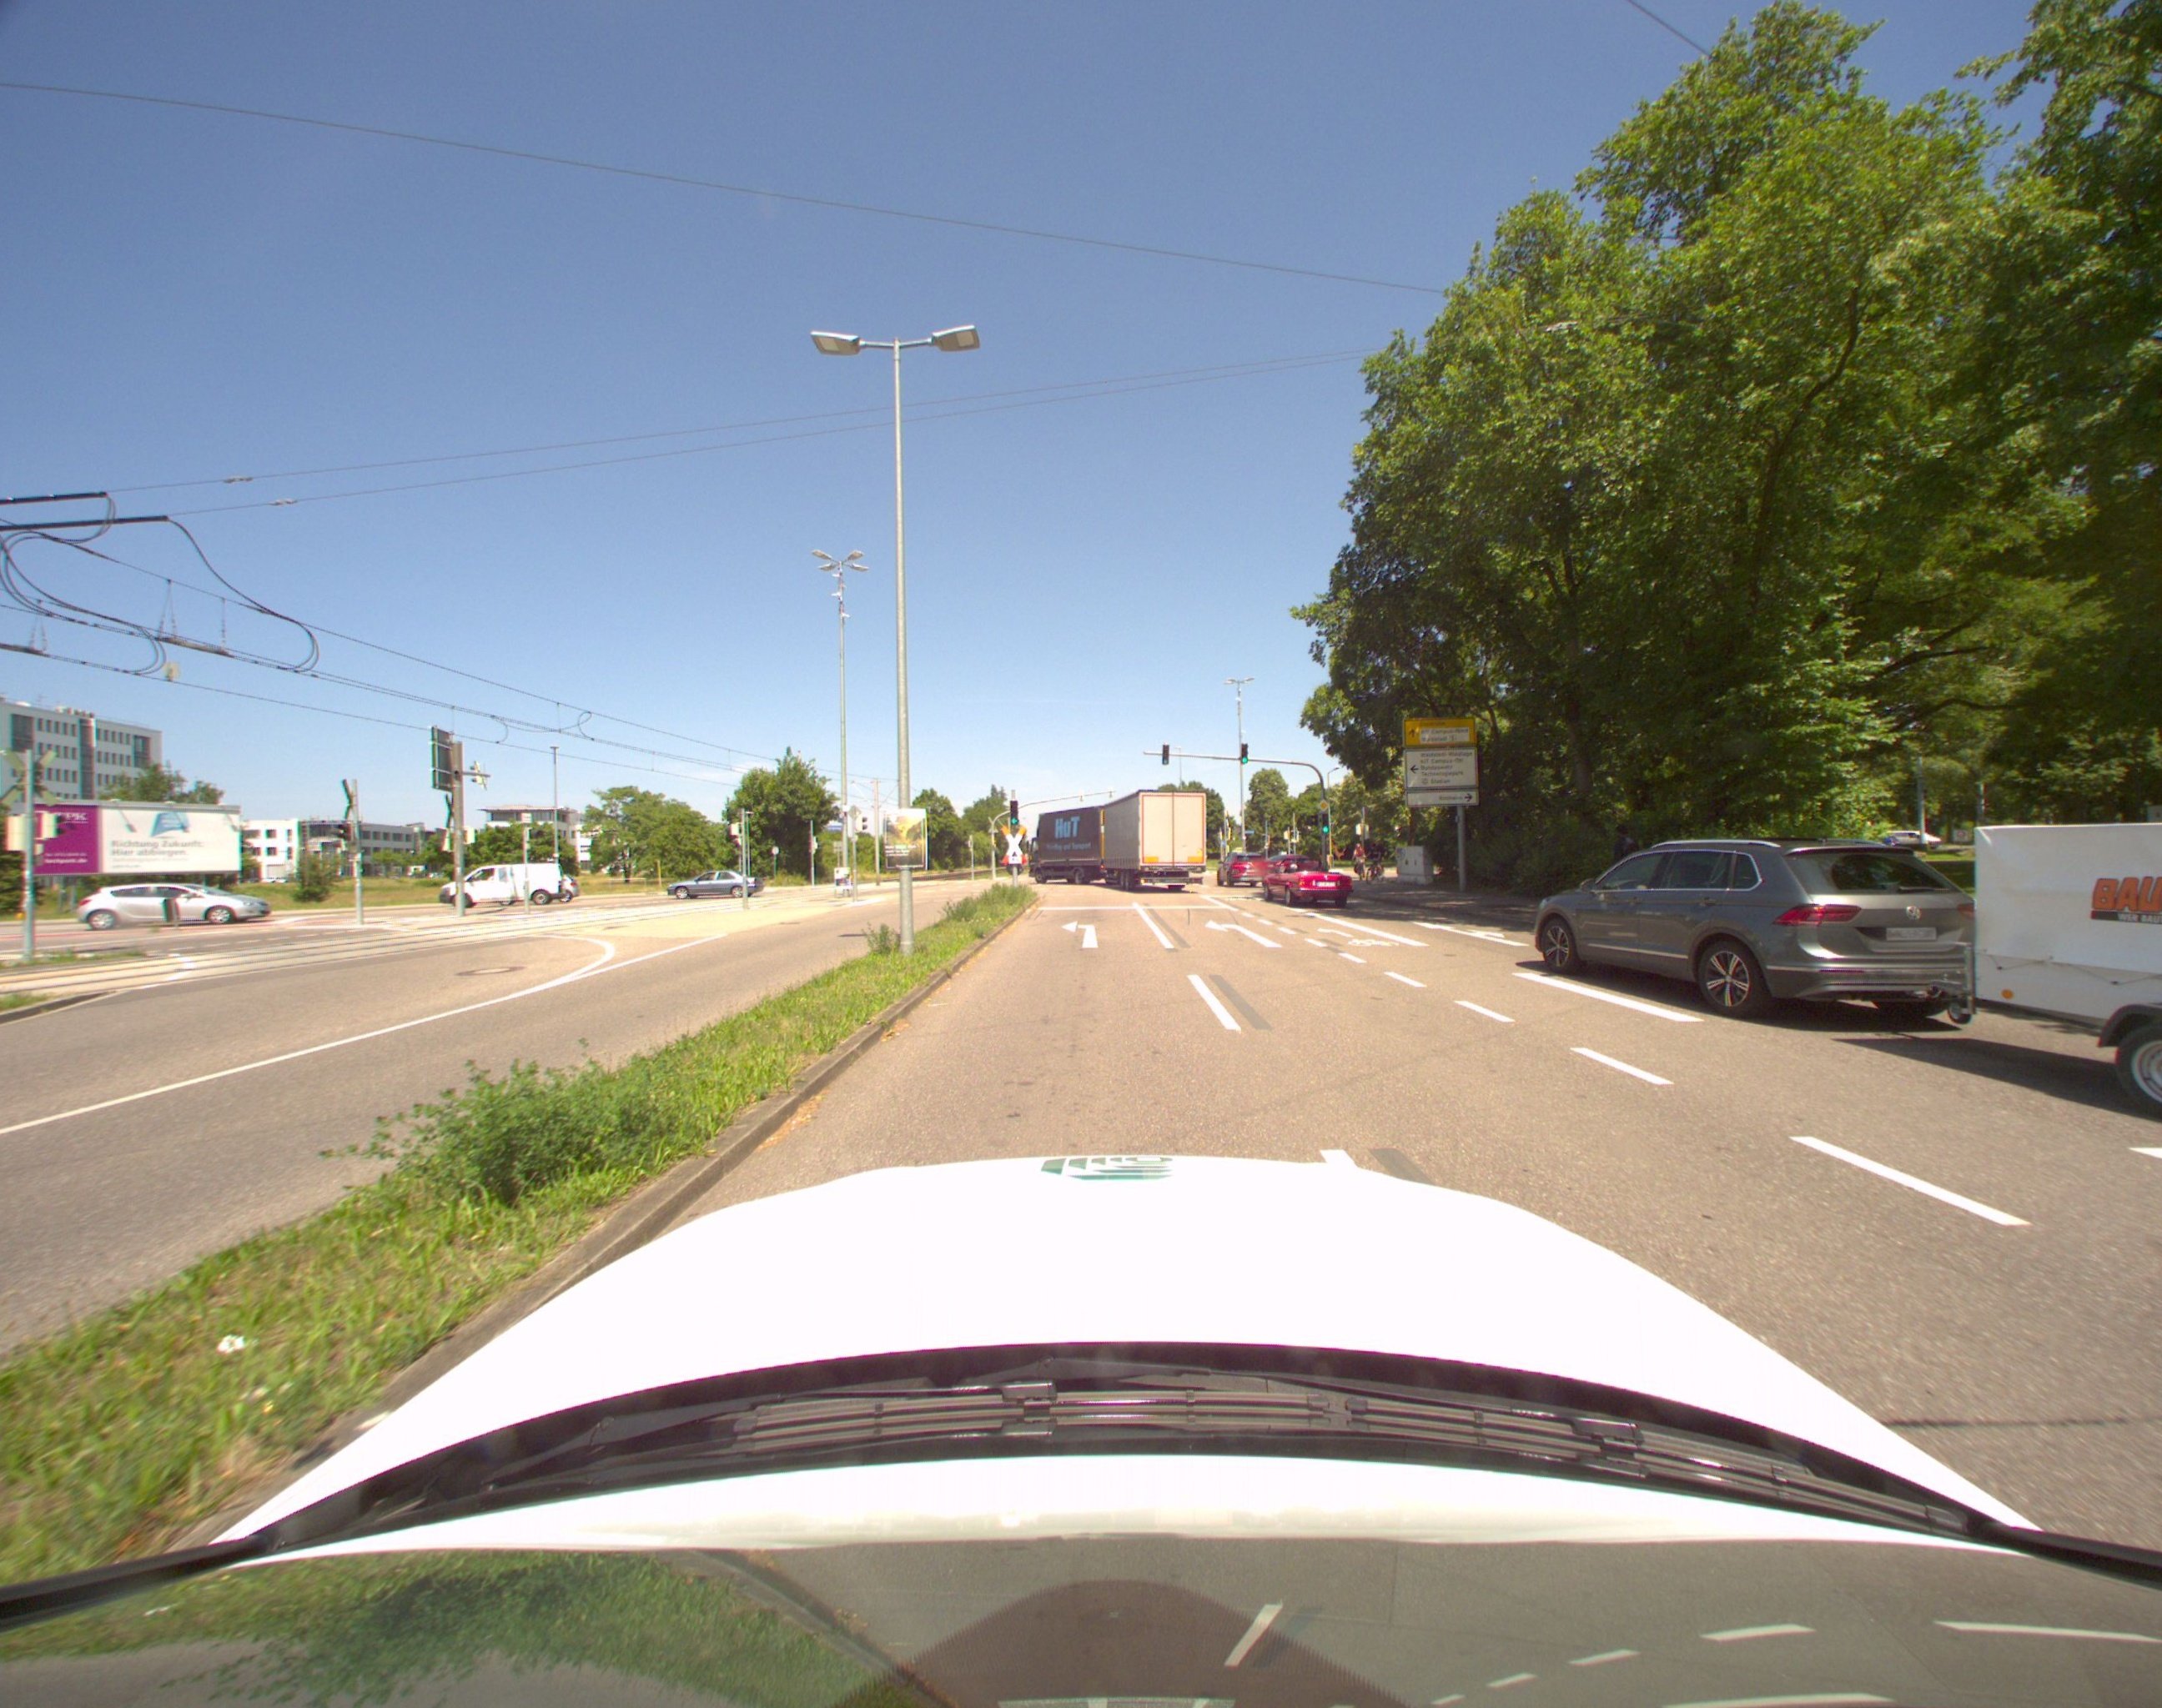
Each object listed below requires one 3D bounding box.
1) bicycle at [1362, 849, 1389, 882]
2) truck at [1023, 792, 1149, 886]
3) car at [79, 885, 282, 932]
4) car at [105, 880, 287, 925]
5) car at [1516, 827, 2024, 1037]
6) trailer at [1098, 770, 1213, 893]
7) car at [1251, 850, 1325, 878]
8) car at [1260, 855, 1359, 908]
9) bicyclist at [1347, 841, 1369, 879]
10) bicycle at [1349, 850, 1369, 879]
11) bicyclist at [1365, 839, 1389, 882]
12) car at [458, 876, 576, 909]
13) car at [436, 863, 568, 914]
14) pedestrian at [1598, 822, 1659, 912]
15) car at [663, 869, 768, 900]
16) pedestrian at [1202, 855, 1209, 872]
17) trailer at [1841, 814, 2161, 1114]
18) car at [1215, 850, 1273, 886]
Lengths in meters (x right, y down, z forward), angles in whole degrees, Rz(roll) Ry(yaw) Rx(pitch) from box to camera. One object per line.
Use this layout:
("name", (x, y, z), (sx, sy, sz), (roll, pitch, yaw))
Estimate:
("bicycle", (12.245, 0.480, 33.842), (0.717, 1.295, 1.313), (-4, -1, 34))
("truck", (0.030, -0.703, 41.968), (2.844, 4.344, 8.206), (0, 0, -29))
("car", (-31.051, 1.832, 28.309), (4.294, 1.293, 1.981), (-1, 1, -30))
("car", (-33.476, 1.787, 30.994), (4.294, 1.412, 1.880), (-1, 1, -30))
("car", (6.647, 0.614, 8.664), (1.694, 1.654, 4.397), (0, 0, 0))
("trailer", (2.790, -0.814, 33.644), (2.825, 4.421, 8.724), (0, 0, -8))
("car", (12.272, 0.567, 48.152), (4.527, 1.503, 1.976), (-2, 1, -42))
("car", (6.461, 0.726, 23.494), (1.650, 1.396, 4.266), (0, 0, 0))
("bicyclist", (13.160, 0.283, 38.707), (0.797, 1.727, 0.681), (-4, -1, 11))
("bicycle", (13.117, 0.499, 38.457), (0.640, 1.304, 1.631), (-4, -1, 12))
("bicyclist", (12.377, 0.271, 34.047), (0.717, 1.703, 0.683), (-4, -1, 34))
("car", (-27.910, 1.901, 40.493), (4.431, 1.371, 1.886), (-1, 1, -20))
("car", (-26.919, 1.563, 38.063), (4.760, 2.111, 1.982), (-1, 1, -28))
("pedestrian", (11.470, 0.260, 17.083), (0.750, 1.816, 0.693), (-2, 0, -1))
("car", (-18.374, 1.508, 41.137), (4.406, 1.371, 1.896), (-1, 1, -4))
("pedestrian", (14.624, 1.111, 95.675), (0.740, 2.013, 0.613), (0, 0, 1))
("trailer", (6.721, 0.608, 4.991), (1.464, 1.669, 2.855), (0, 0, -1))
("car", (7.314, 0.607, 36.871), (1.852, 1.549, 3.886), (0, 0, -1))
